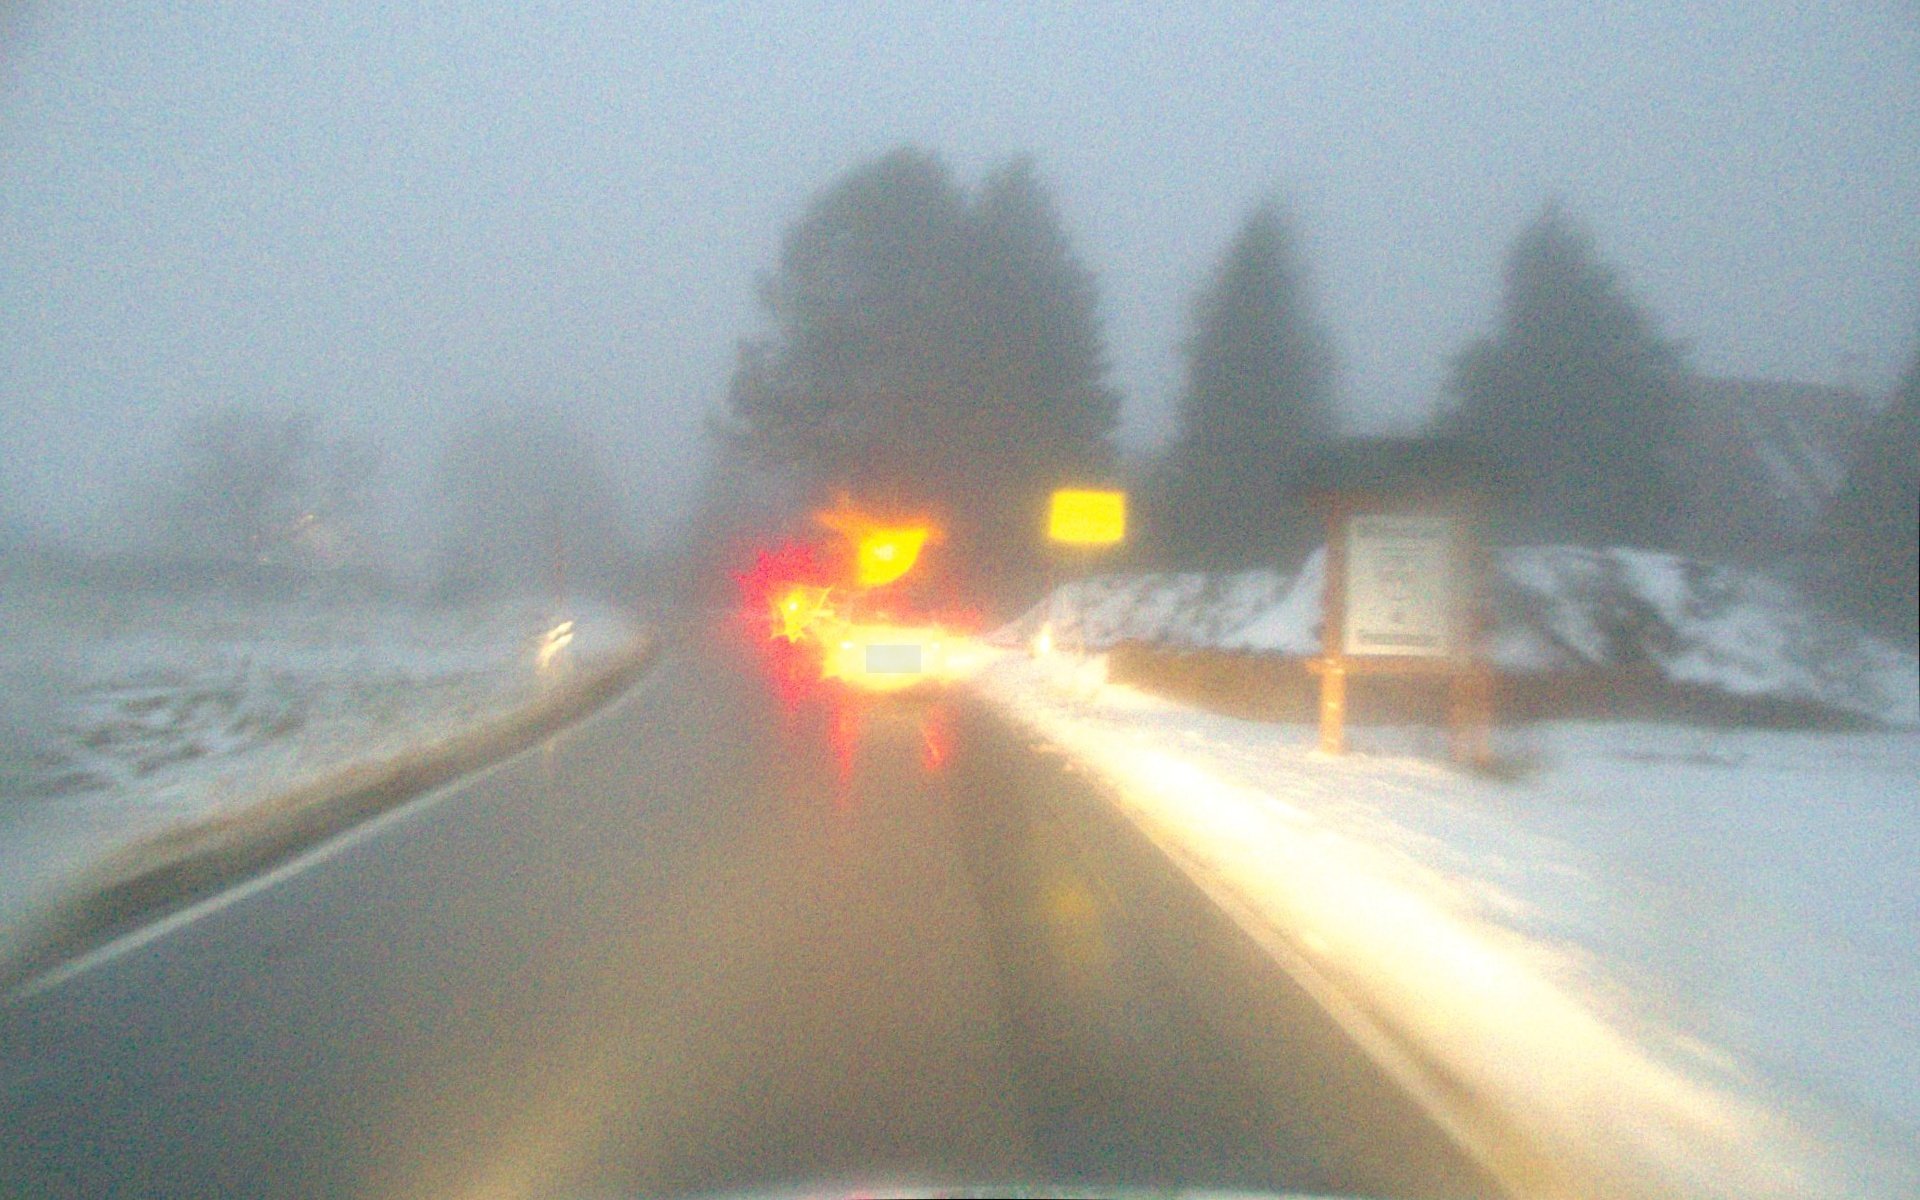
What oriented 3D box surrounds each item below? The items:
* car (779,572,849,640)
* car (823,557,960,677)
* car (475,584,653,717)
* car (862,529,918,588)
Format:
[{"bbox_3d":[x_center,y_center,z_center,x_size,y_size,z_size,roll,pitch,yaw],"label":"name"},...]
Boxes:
[{"bbox_3d":[-3.387,0.130,38.789,1.449,1.534,3.052,0,0,-2],"label":"car"},{"bbox_3d":[-1.087,0.286,24.512,1.674,1.488,3.994,5,-2,-6],"label":"car"},{"bbox_3d":[-4.867,0.603,20.681,1.491,1.534,3.052,0,-1,-1],"label":"car"},{"bbox_3d":[-1.906,-1.122,45.781,1.448,1.534,3.052,0,-1,-1],"label":"car"}]
